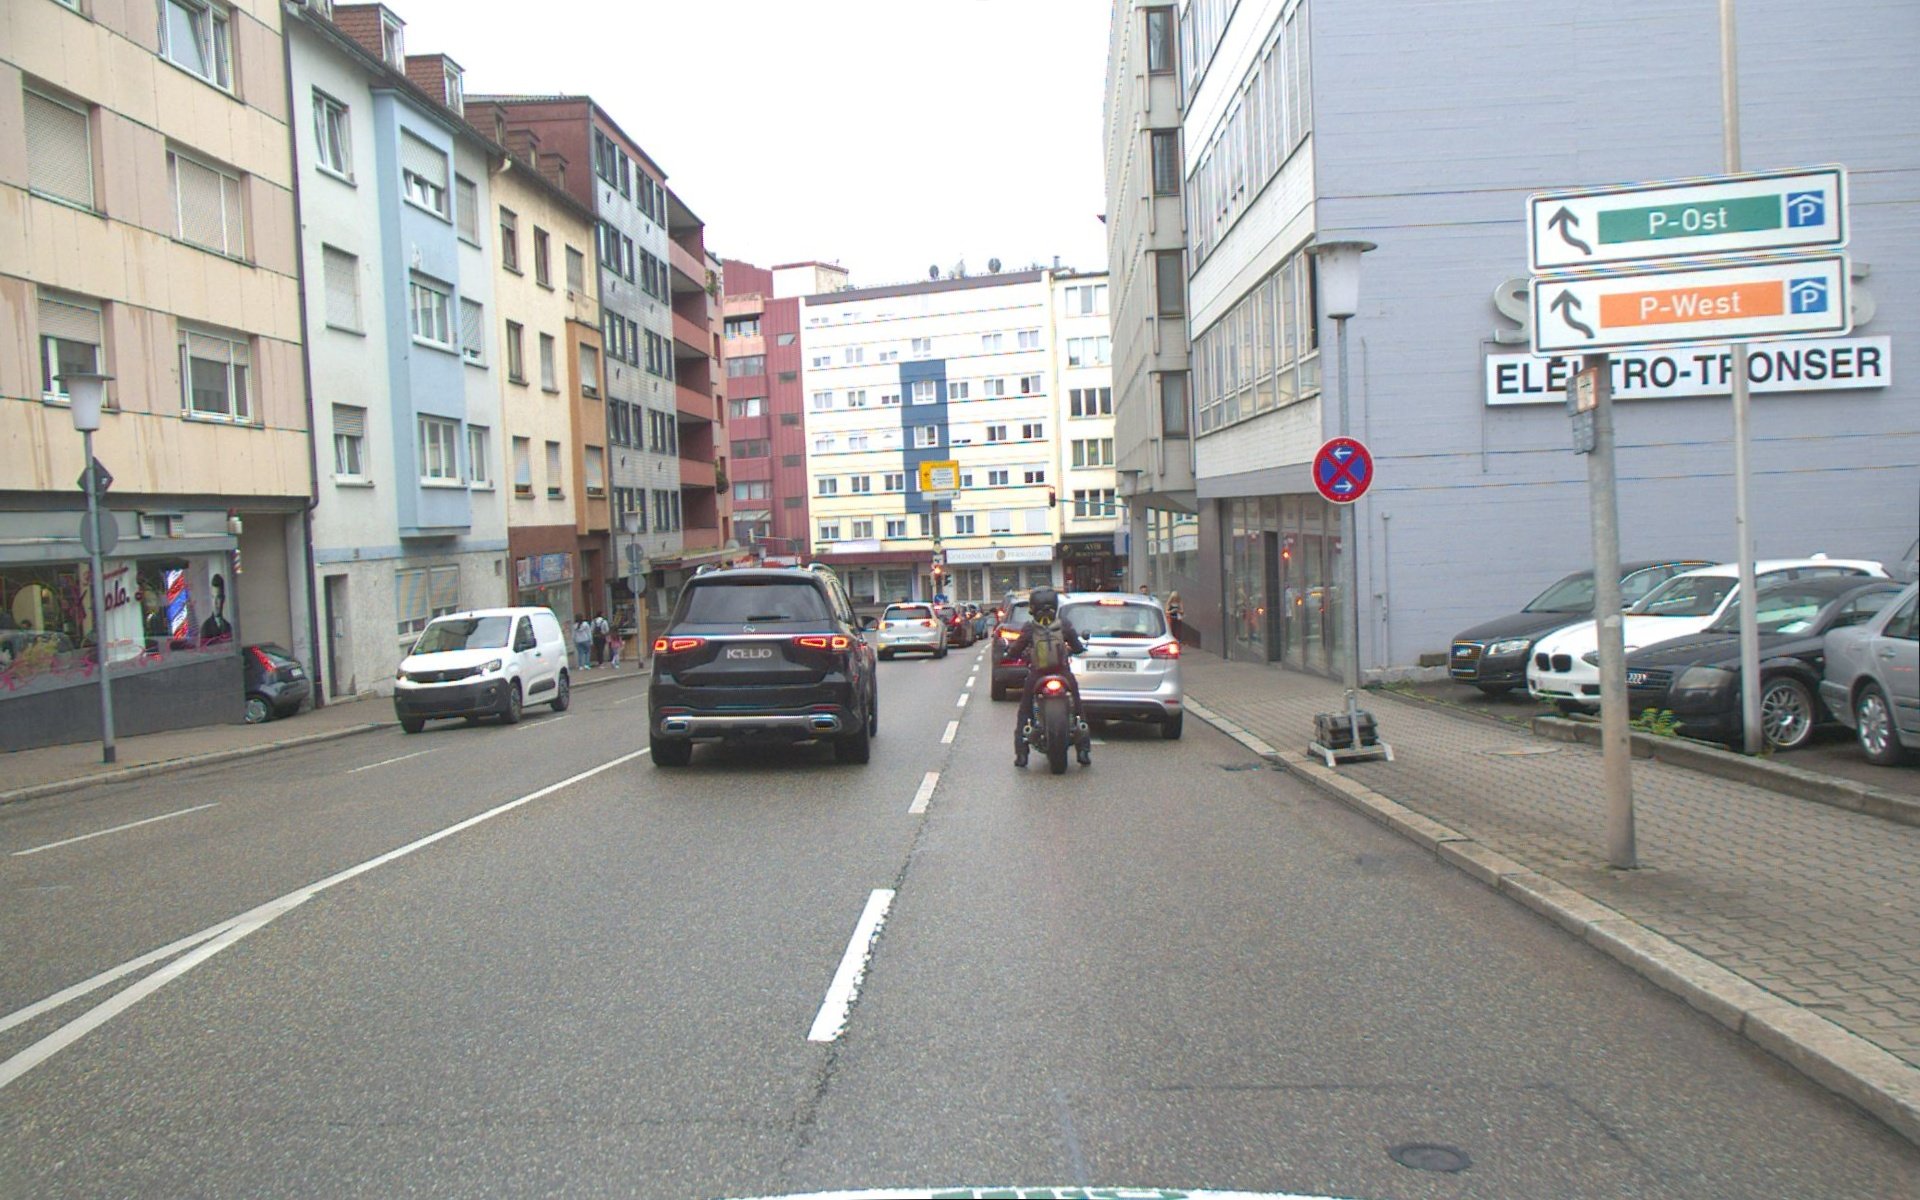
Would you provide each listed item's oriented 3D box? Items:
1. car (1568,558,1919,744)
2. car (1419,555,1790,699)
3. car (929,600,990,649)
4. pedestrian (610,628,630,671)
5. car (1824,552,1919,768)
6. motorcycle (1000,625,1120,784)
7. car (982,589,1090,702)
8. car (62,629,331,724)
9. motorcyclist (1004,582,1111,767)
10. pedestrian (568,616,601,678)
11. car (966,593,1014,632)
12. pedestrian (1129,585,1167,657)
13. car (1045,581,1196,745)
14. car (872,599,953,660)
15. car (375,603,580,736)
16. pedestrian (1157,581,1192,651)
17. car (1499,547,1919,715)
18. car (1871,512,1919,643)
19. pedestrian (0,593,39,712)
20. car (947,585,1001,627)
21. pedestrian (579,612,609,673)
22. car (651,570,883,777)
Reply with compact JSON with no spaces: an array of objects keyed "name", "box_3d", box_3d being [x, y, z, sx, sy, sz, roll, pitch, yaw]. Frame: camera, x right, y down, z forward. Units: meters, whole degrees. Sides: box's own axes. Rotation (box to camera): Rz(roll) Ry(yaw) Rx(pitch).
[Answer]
[{"name":"car","box_3d":[7.695,0.419,14.903,3.923,1.521,1.725,0,-1,-17]},{"name":"car","box_3d":[7.775,0.305,20.047,3.923,1.625,1.791,0,-1,-17]},{"name":"car","box_3d":[0.025,0.790,55.906,1.845,1.529,4.401,-1,0,3]},{"name":"pedestrian","box_3d":[-9.919,1.440,48.291,0.417,1.182,0.587,-2,4,-1]},{"name":"car","box_3d":[7.400,0.410,10.753,1.533,1.503,4.071,-1,0,2]},{"name":"motorcycle","box_3d":[0.857,0.881,14.899,0.849,1.207,2.561,-2,1,-1]},{"name":"car","box_3d":[1.123,0.657,25.643,1.491,1.575,3.107,-2,1,0]},{"name":"car","box_3d":[-13.497,1.337,29.401,3.905,1.525,1.799,-1,-1,0]},{"name":"motorcyclist","box_3d":[0.862,0.656,14.853,0.849,1.587,0.763,-2,-1,-1]},{"name":"pedestrian","box_3d":[-10.723,1.329,47.211,0.724,1.680,0.606,-2,4,-1]},{"name":"car","box_3d":[1.280,0.490,68.711,1.845,1.529,4.401,-1,0,3]},{"name":"pedestrian","box_3d":[4.424,0.478,38.936,0.753,1.639,0.704,-2,2,-1]},{"name":"car","box_3d":[1.782,0.652,19.092,1.387,1.679,3.107,-2,1,0]},{"name":"car","box_3d":[-1.228,0.759,44.658,1.845,1.529,4.401,-1,0,3]},{"name":"car","box_3d":[-7.634,1.035,26.638,1.831,1.783,4.399,-4,0,1]},{"name":"pedestrian","box_3d":[5.163,0.380,39.870,0.703,1.639,0.610,-2,2,-1]},{"name":"car","box_3d":[7.921,0.307,17.459,3.923,1.625,1.791,0,-1,-17]},{"name":"car","box_3d":[12.792,-0.315,19.662,1.611,1.625,3.864,-1,-1,-3]},{"name":"pedestrian","box_3d":[-14.597,0.801,25.301,0.587,1.759,0.572,-2,4,-1]},{"name":"car","box_3d":[0.580,0.218,63.005,1.845,1.529,4.401,-1,0,3]},{"name":"pedestrian","box_3d":[-10.635,1.225,48.106,0.658,1.680,0.606,-2,4,-1]},{"name":"car","box_3d":[-1.812,0.620,16.598,1.981,1.770,4.743,0,0,-4]}]
